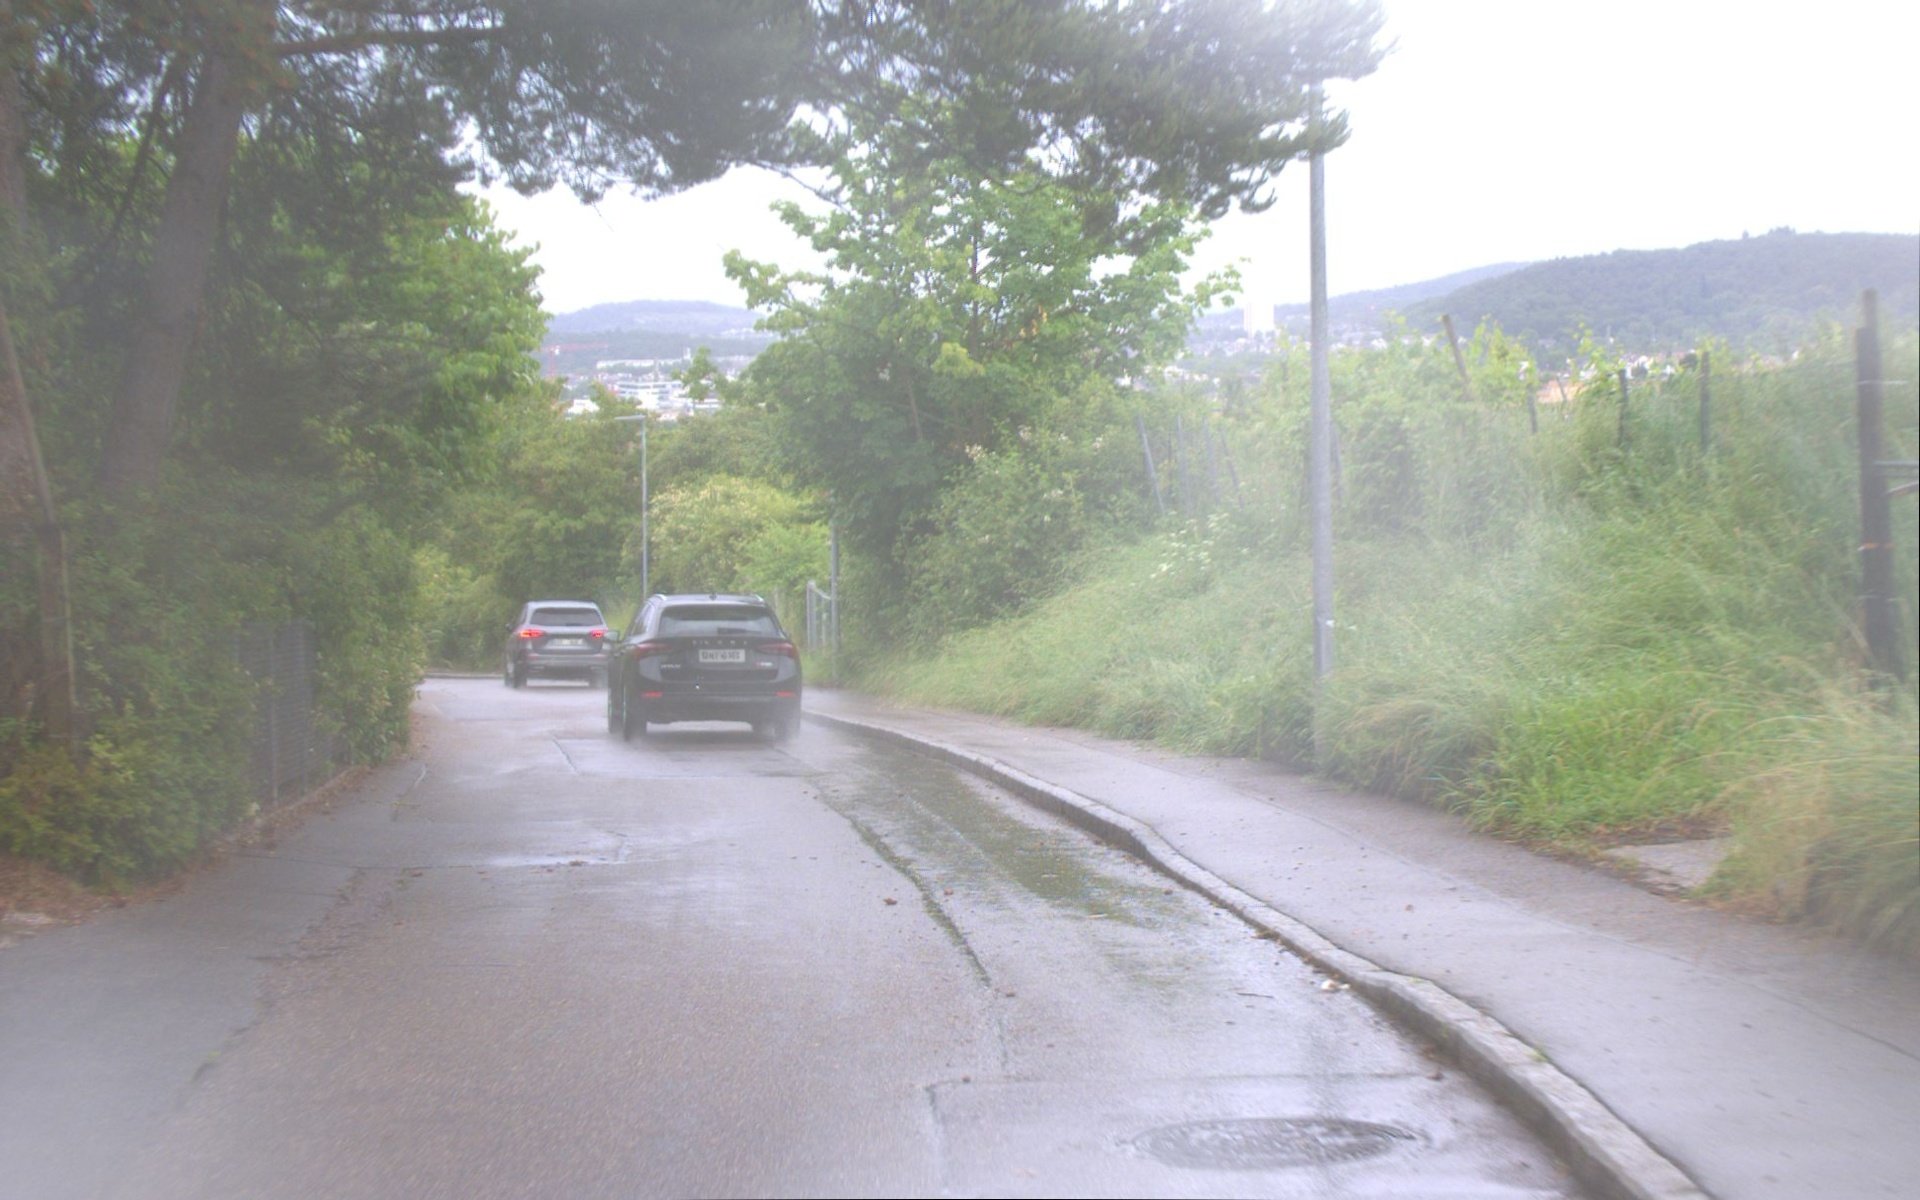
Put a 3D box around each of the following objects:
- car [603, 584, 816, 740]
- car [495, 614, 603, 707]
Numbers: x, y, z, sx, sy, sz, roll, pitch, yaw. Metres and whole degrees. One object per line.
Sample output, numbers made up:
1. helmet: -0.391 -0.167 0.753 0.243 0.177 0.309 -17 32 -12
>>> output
1. car: -2.610 0.600 35.057 1.834 1.459 4.001 -1 0 -9
2. car: -7.403 1.068 61.727 1.677 1.560 3.795 0 1 -11
